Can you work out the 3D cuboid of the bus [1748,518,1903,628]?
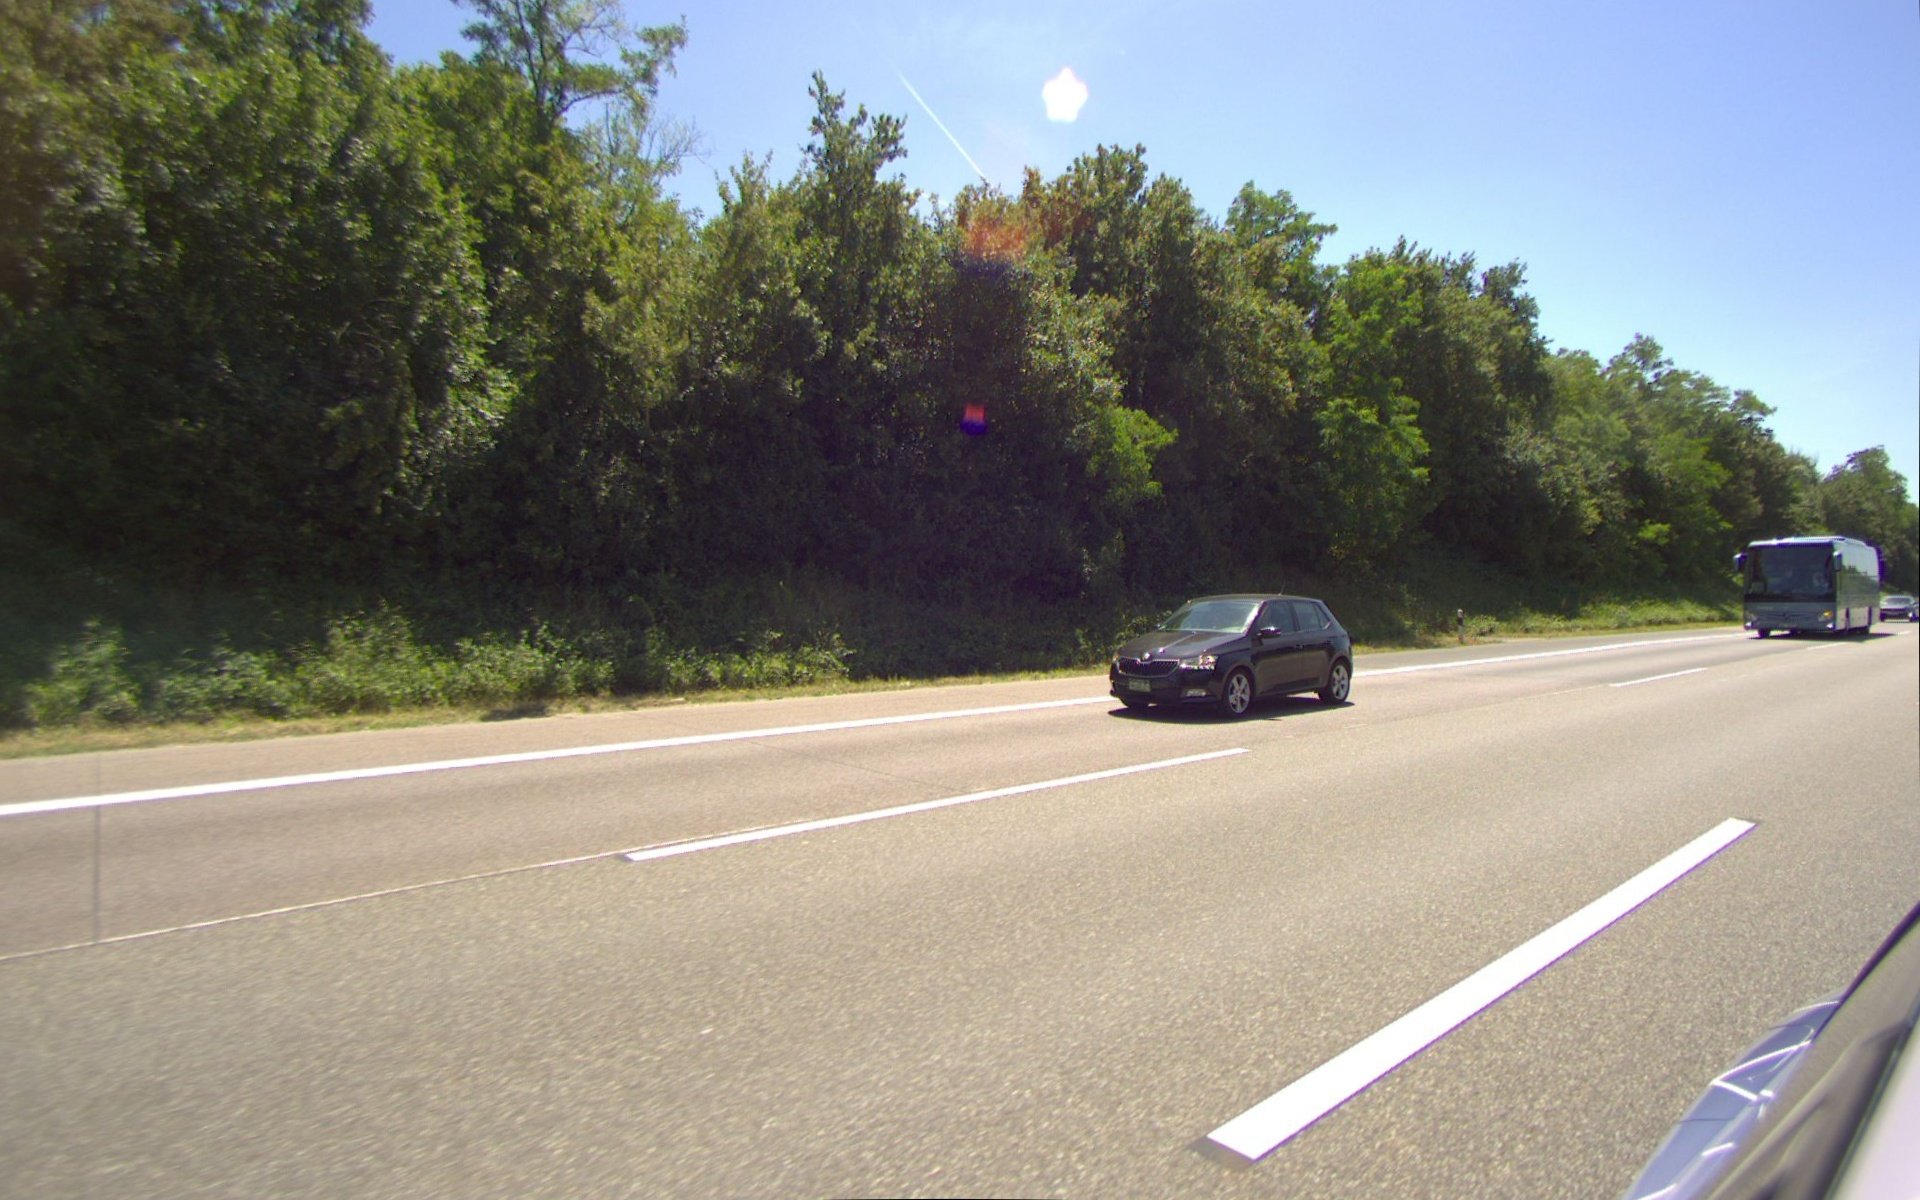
[{"bbox_3d":[33.167,-0.986,38.463,13.446,3.597,2.614,-1,1,-41],"label":"bus"}]

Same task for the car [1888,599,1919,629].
[{"bbox_3d":[55.812,0.777,59.214,3.931,1.636,1.812,-1,1,-41],"label":"car"}]

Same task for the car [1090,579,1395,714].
[{"bbox_3d":[3.823,0.480,13.248,4.495,1.465,1.672,-1,1,-41],"label":"car"}]
